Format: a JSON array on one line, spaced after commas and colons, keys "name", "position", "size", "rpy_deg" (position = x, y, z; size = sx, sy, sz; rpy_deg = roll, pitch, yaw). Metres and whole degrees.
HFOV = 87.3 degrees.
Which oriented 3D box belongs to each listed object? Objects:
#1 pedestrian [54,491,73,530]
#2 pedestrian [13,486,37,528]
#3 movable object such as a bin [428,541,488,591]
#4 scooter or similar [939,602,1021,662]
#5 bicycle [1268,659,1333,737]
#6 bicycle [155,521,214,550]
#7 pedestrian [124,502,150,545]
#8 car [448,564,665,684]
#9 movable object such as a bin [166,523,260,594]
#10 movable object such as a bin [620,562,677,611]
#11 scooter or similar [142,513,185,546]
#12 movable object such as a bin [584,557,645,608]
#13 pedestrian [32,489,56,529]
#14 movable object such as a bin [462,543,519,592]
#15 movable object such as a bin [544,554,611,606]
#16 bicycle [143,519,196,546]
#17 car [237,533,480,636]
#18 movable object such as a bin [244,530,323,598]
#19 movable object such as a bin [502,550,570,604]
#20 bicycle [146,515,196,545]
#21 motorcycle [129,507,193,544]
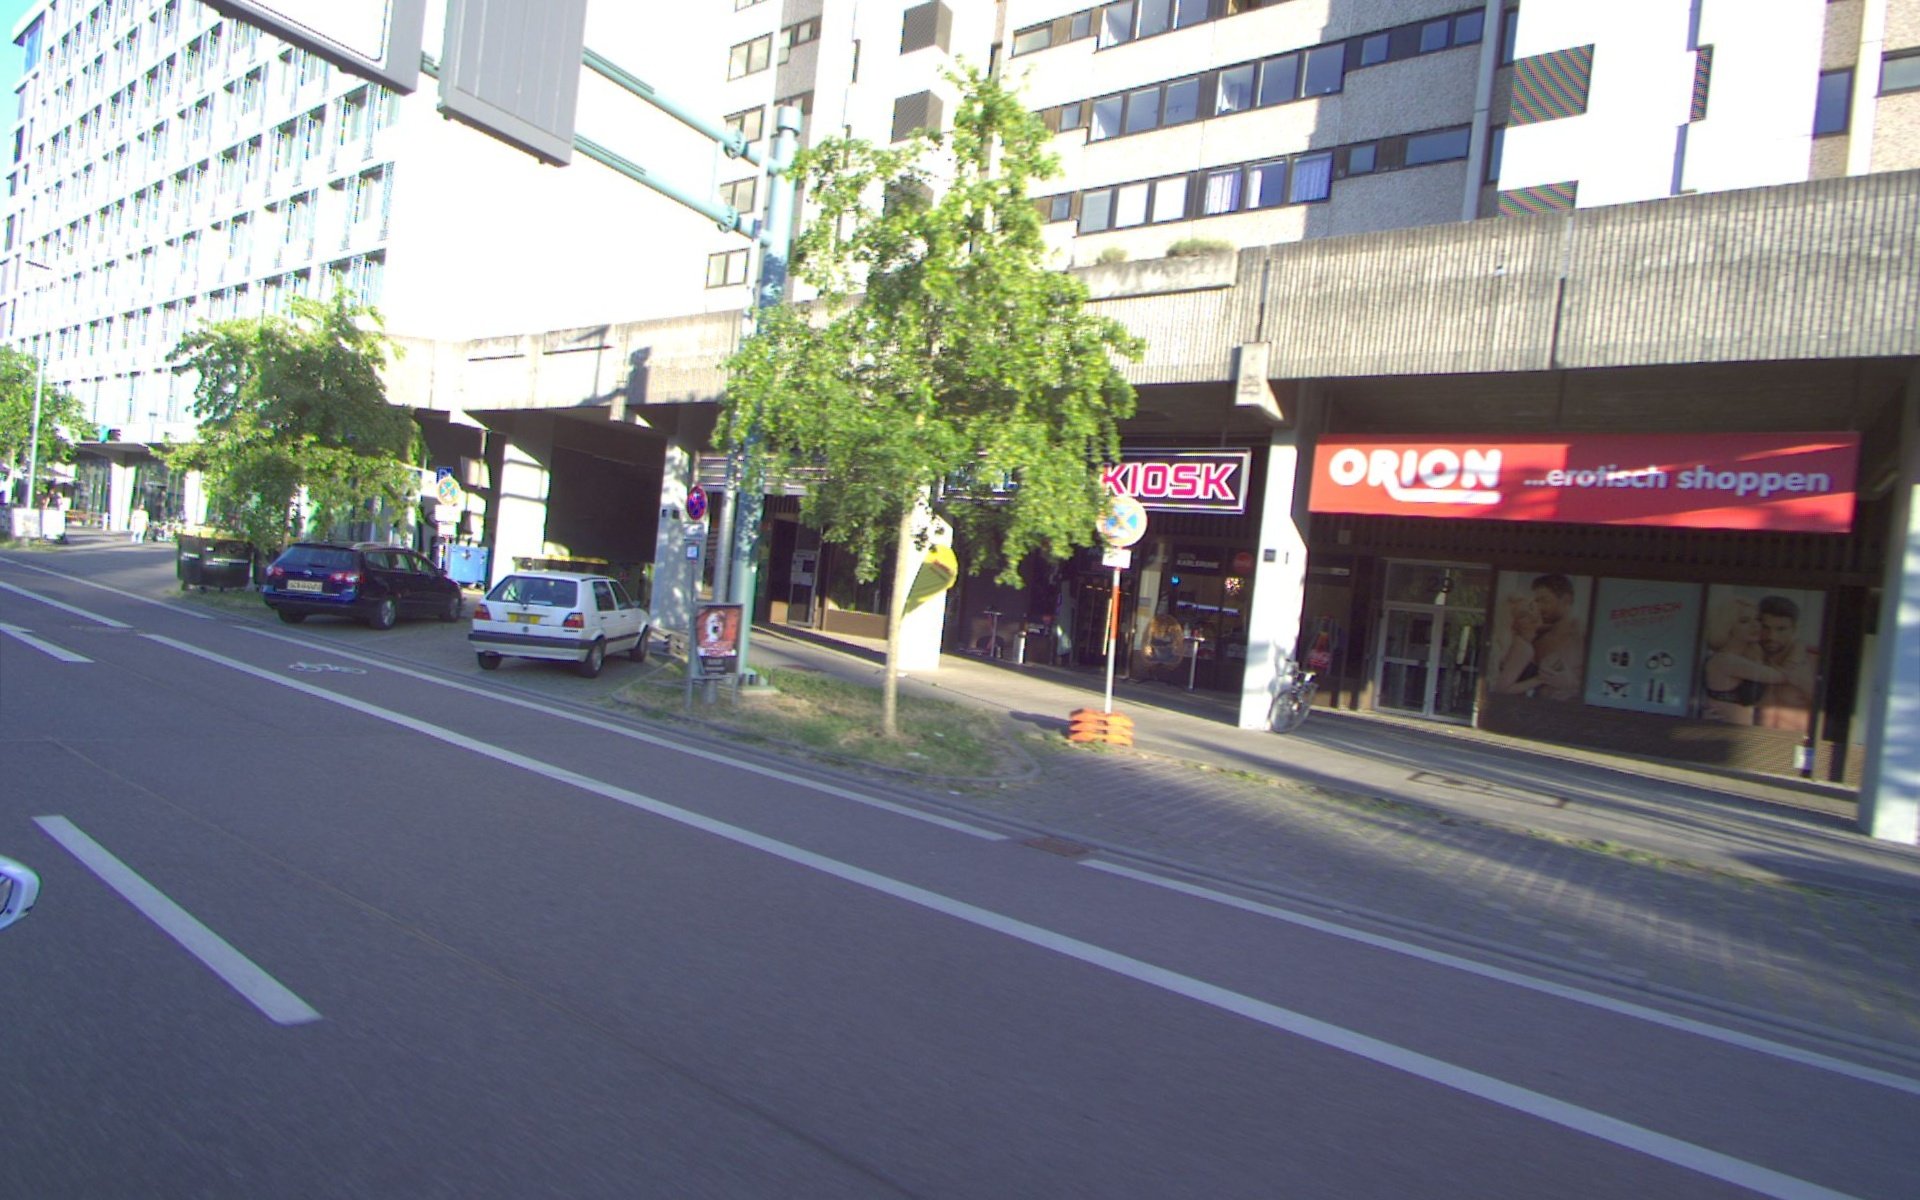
[{"name": "pedestrian", "position": [-43.162, -4.312, 48.425], "size": [0.616, 1.836, 0.767], "rpy_deg": [1, 4, -45]}, {"name": "pedestrian", "position": [-44.138, -4.376, 47.489], "size": [0.741, 1.874, 0.928], "rpy_deg": [2, 4, -45]}, {"name": "movable object such as a bin", "position": [-15.162, -1.019, 30.386], "size": [1.263, 1.347, 1.104], "rpy_deg": [7, 3, 35]}, {"name": "scooter or similar", "position": [0.468, 0.750, 23.875], "size": [1.798, 1.174, 0.402], "rpy_deg": [7, -1, 26]}, {"name": "bicycle", "position": [5.174, 1.454, 15.242], "size": [0.426, 1.062, 1.571], "rpy_deg": [7, 2, 34]}, {"name": "bicycle", "position": [-32.977, -2.733, 42.803], "size": [0.556, 1.023, 1.884], "rpy_deg": [7, 2, 34]}, {"name": "pedestrian", "position": [-33.513, -3.106, 40.961], "size": [0.632, 1.641, 0.576], "rpy_deg": [7, 3, 33]}, {"name": "car", "position": [-5.936, 0.270, 15.335], "size": [1.719, 1.435, 3.986], "rpy_deg": [5, 2, -2]}, {"name": "movable object such as a bin", "position": [-15.671, -0.865, 21.118], "size": [1.338, 1.319, 1.085], "rpy_deg": [7, 3, 29]}, {"name": "movable object such as a bin", "position": [-9.665, -0.424, 31.235], "size": [1.070, 1.330, 1.182], "rpy_deg": [7, 1, 34]}, {"name": "scooter or similar", "position": [-34.321, -3.037, 43.358], "size": [0.598, 1.250, 1.268], "rpy_deg": [7, 2, 32]}, {"name": "movable object such as a bin", "position": [-10.379, -0.517, 30.232], "size": [1.107, 1.330, 1.182], "rpy_deg": [7, 1, 34]}, {"name": "pedestrian", "position": [-43.801, -4.354, 48.111], "size": [0.753, 1.849, 0.928], "rpy_deg": [3, 3, -45]}, {"name": "movable object such as a bin", "position": [-14.645, -1.005, 31.398], "size": [1.183, 1.347, 1.074], "rpy_deg": [7, 1, 35]}, {"name": "movable object such as a bin", "position": [-11.046, -0.580, 29.039], "size": [1.284, 1.315, 1.182], "rpy_deg": [7, 1, 34]}, {"name": "bicycle", "position": [-34.600, -2.963, 44.066], "size": [0.542, 0.999, 1.700], "rpy_deg": [7, 2, 32]}, {"name": "car", "position": [-11.058, -0.322, 18.968], "size": [1.904, 1.528, 4.663], "rpy_deg": [5, 2, -3]}, {"name": "movable object such as a bin", "position": [-14.984, -0.793, 22.292], "size": [1.141, 1.365, 1.014], "rpy_deg": [7, 3, 31]}, {"name": "movable object such as a bin", "position": [-11.745, -0.640, 27.858], "size": [1.246, 1.341, 1.180], "rpy_deg": [7, 3, 34]}, {"name": "bicycle", "position": [-35.210, -3.124, 44.919], "size": [0.601, 1.170, 1.609], "rpy_deg": [7, 2, 23]}, {"name": "motorcycle", "position": [-35.873, -3.321, 45.186], "size": [0.659, 1.404, 2.116], "rpy_deg": [7, 2, 22]}]
